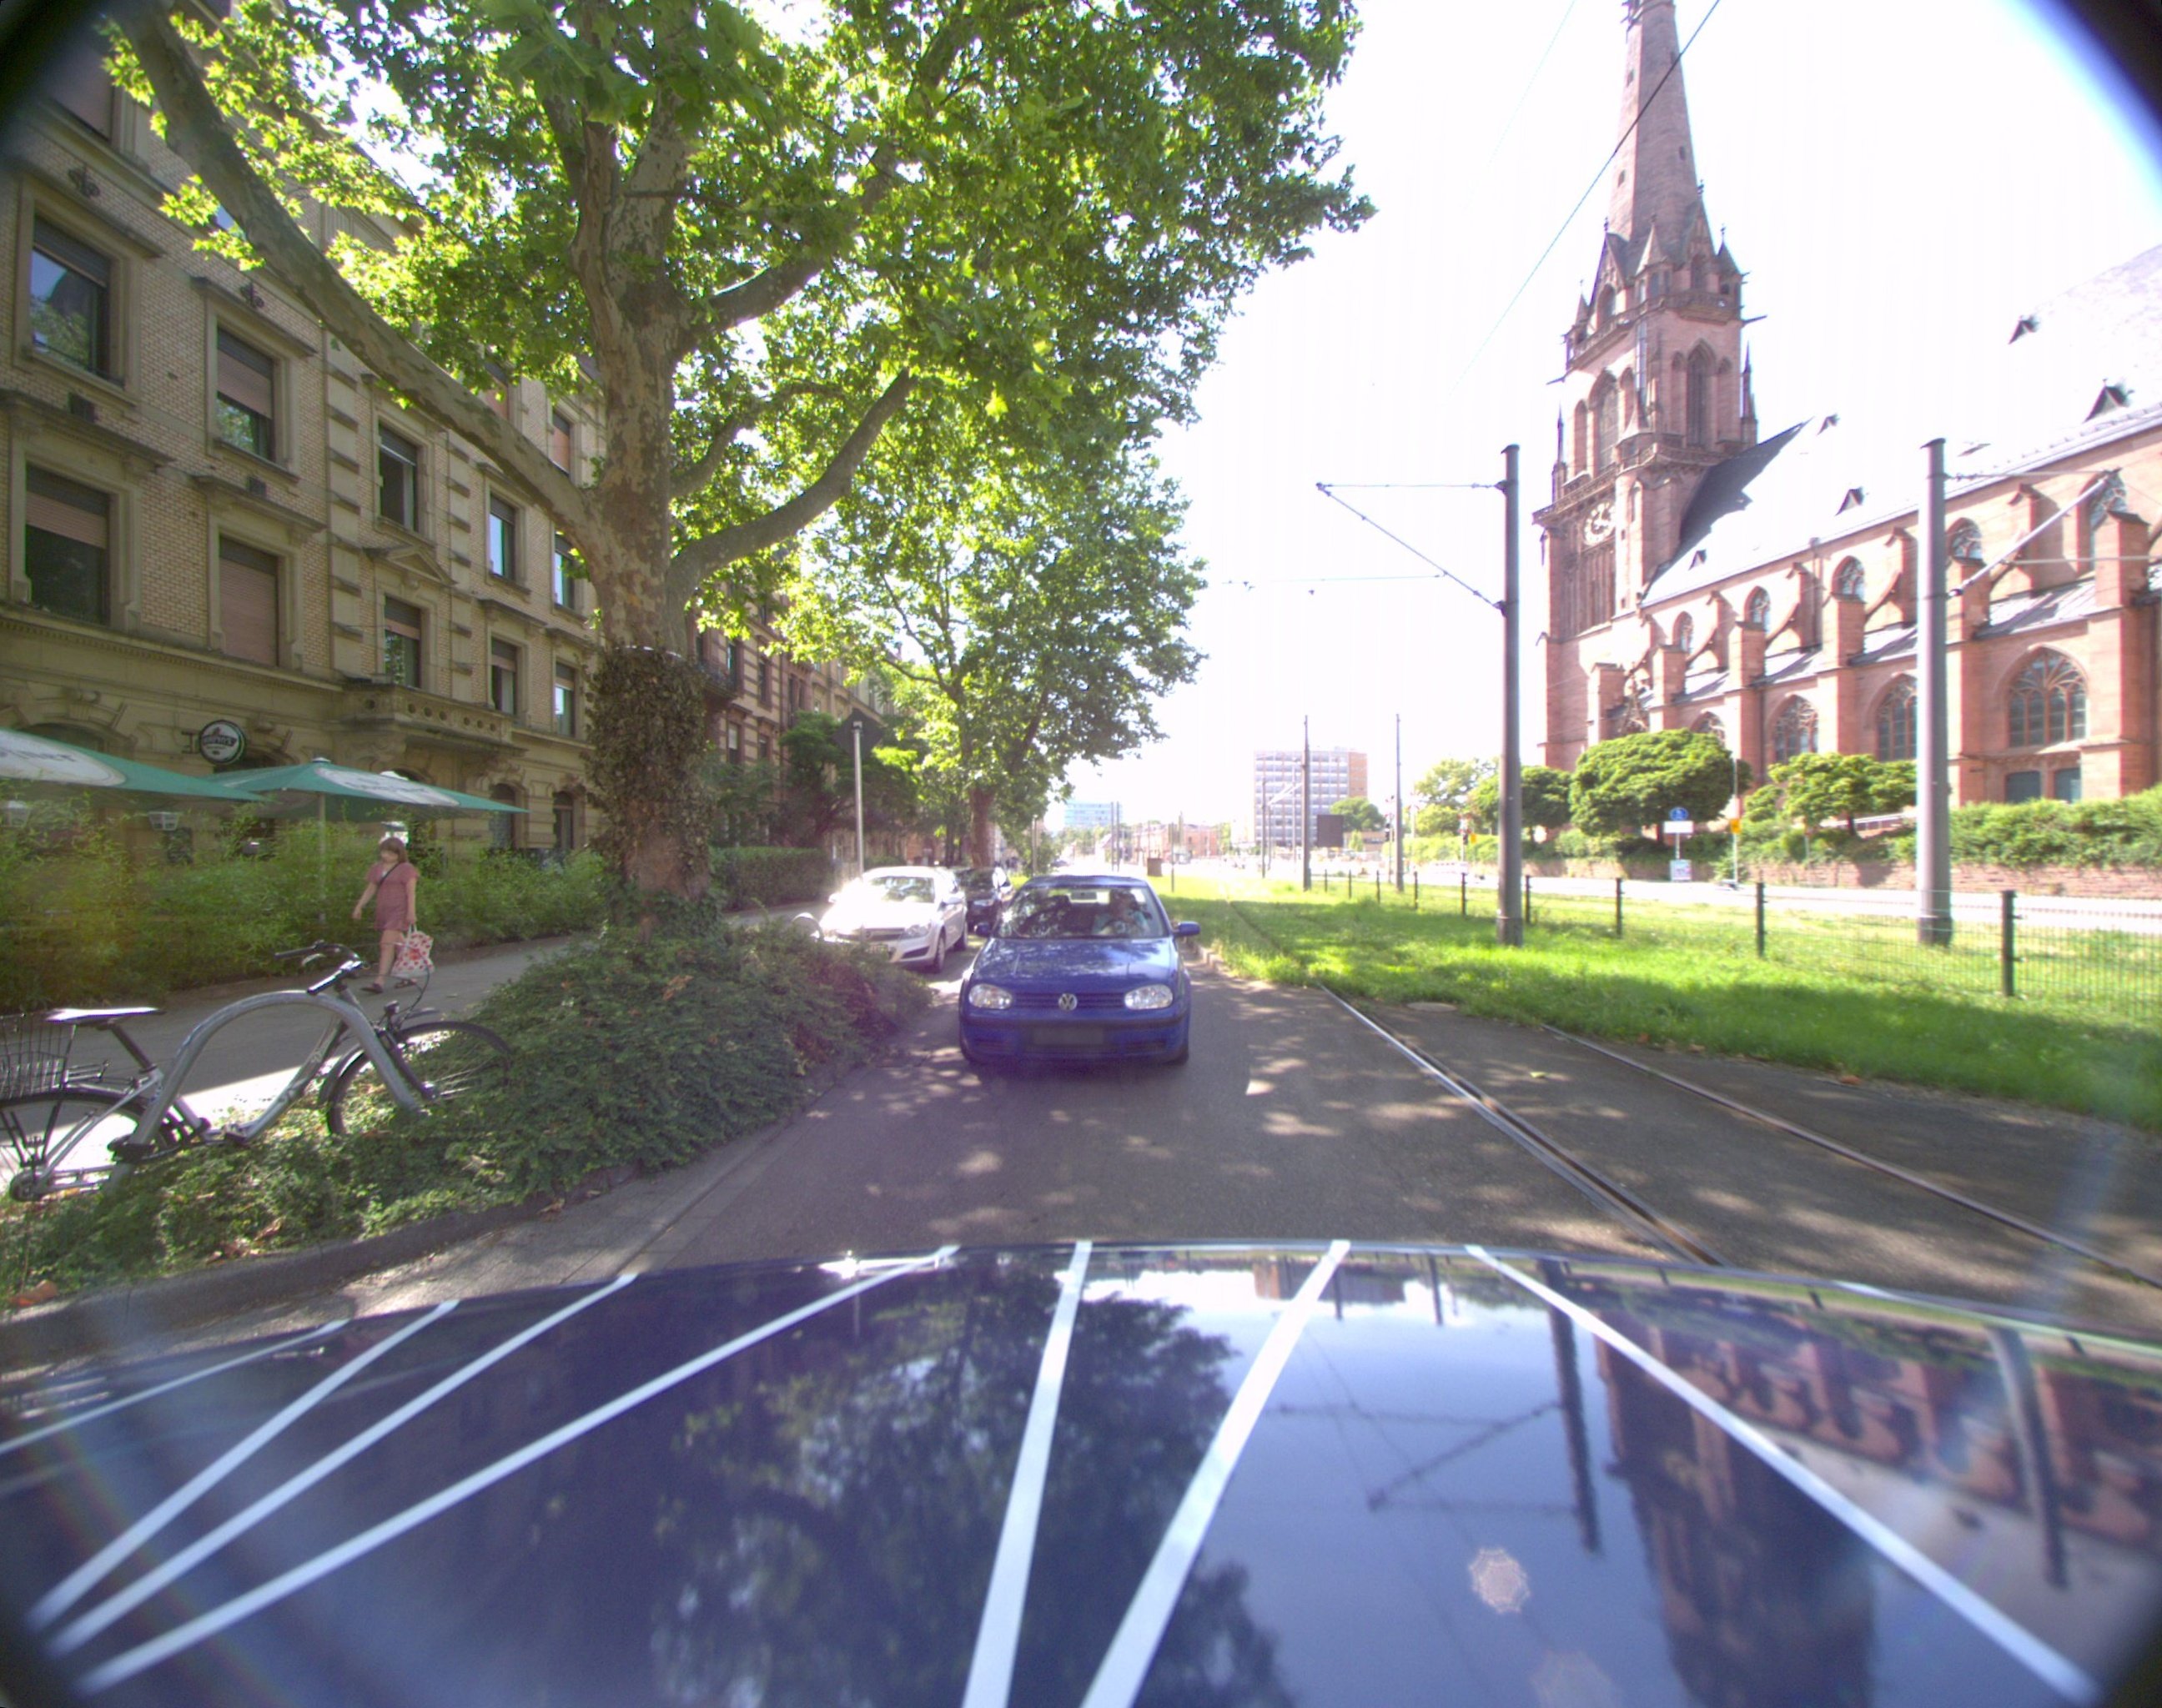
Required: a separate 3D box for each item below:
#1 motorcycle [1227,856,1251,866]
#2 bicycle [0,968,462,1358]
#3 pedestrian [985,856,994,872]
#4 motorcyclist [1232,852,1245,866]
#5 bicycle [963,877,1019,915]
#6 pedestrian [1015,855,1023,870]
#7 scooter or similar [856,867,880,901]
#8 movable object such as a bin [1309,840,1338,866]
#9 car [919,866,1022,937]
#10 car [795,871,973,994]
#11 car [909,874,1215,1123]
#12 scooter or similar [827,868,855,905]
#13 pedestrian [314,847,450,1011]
[{"bbox_3d":[21.249,0.918,102.431,1.246,1.331,3.930,-1,0,-22],"label":"motorcycle"},{"bbox_3d":[-3.526,1.118,3.000,0.421,1.099,1.620,0,0,31],"label":"bicycle"},{"bbox_3d":[-9.515,1.034,78.856,0.797,1.708,0.968,-1,0,0],"label":"pedestrian"},{"bbox_3d":[21.256,0.692,102.441,1.335,1.919,1.106,-1,0,-23],"label":"motorcyclist"},{"bbox_3d":[-2.733,1.261,23.177,1.641,1.082,0.470,0,0,-32],"label":"bicycle"},{"bbox_3d":[-7.139,1.005,87.263,0.797,1.708,0.968,-1,0,0],"label":"pedestrian"},{"bbox_3d":[-8.287,1.151,29.581,0.583,1.275,1.145,0,0,3],"label":"scooter or similar"},{"bbox_3d":[37.625,-0.157,117.872,3.341,3.859,2.932,0,0,-33],"label":"movable object such as a bin"},{"bbox_3d":[-2.634,1.094,19.197,1.838,1.499,4.643,0,0,1],"label":"car"},{"bbox_3d":[-2.870,1.063,12.095,1.838,1.499,4.491,0,0,-3],"label":"car"},{"bbox_3d":[-0.092,0.974,6.886,1.886,1.401,4.093,-3,0,1],"label":"car"},{"bbox_3d":[-8.484,1.132,26.859,0.583,1.240,1.145,0,0,1],"label":"scooter or similar"},{"bbox_3d":[-7.960,0.819,8.698,0.738,1.775,0.852,1,0,0],"label":"pedestrian"}]
